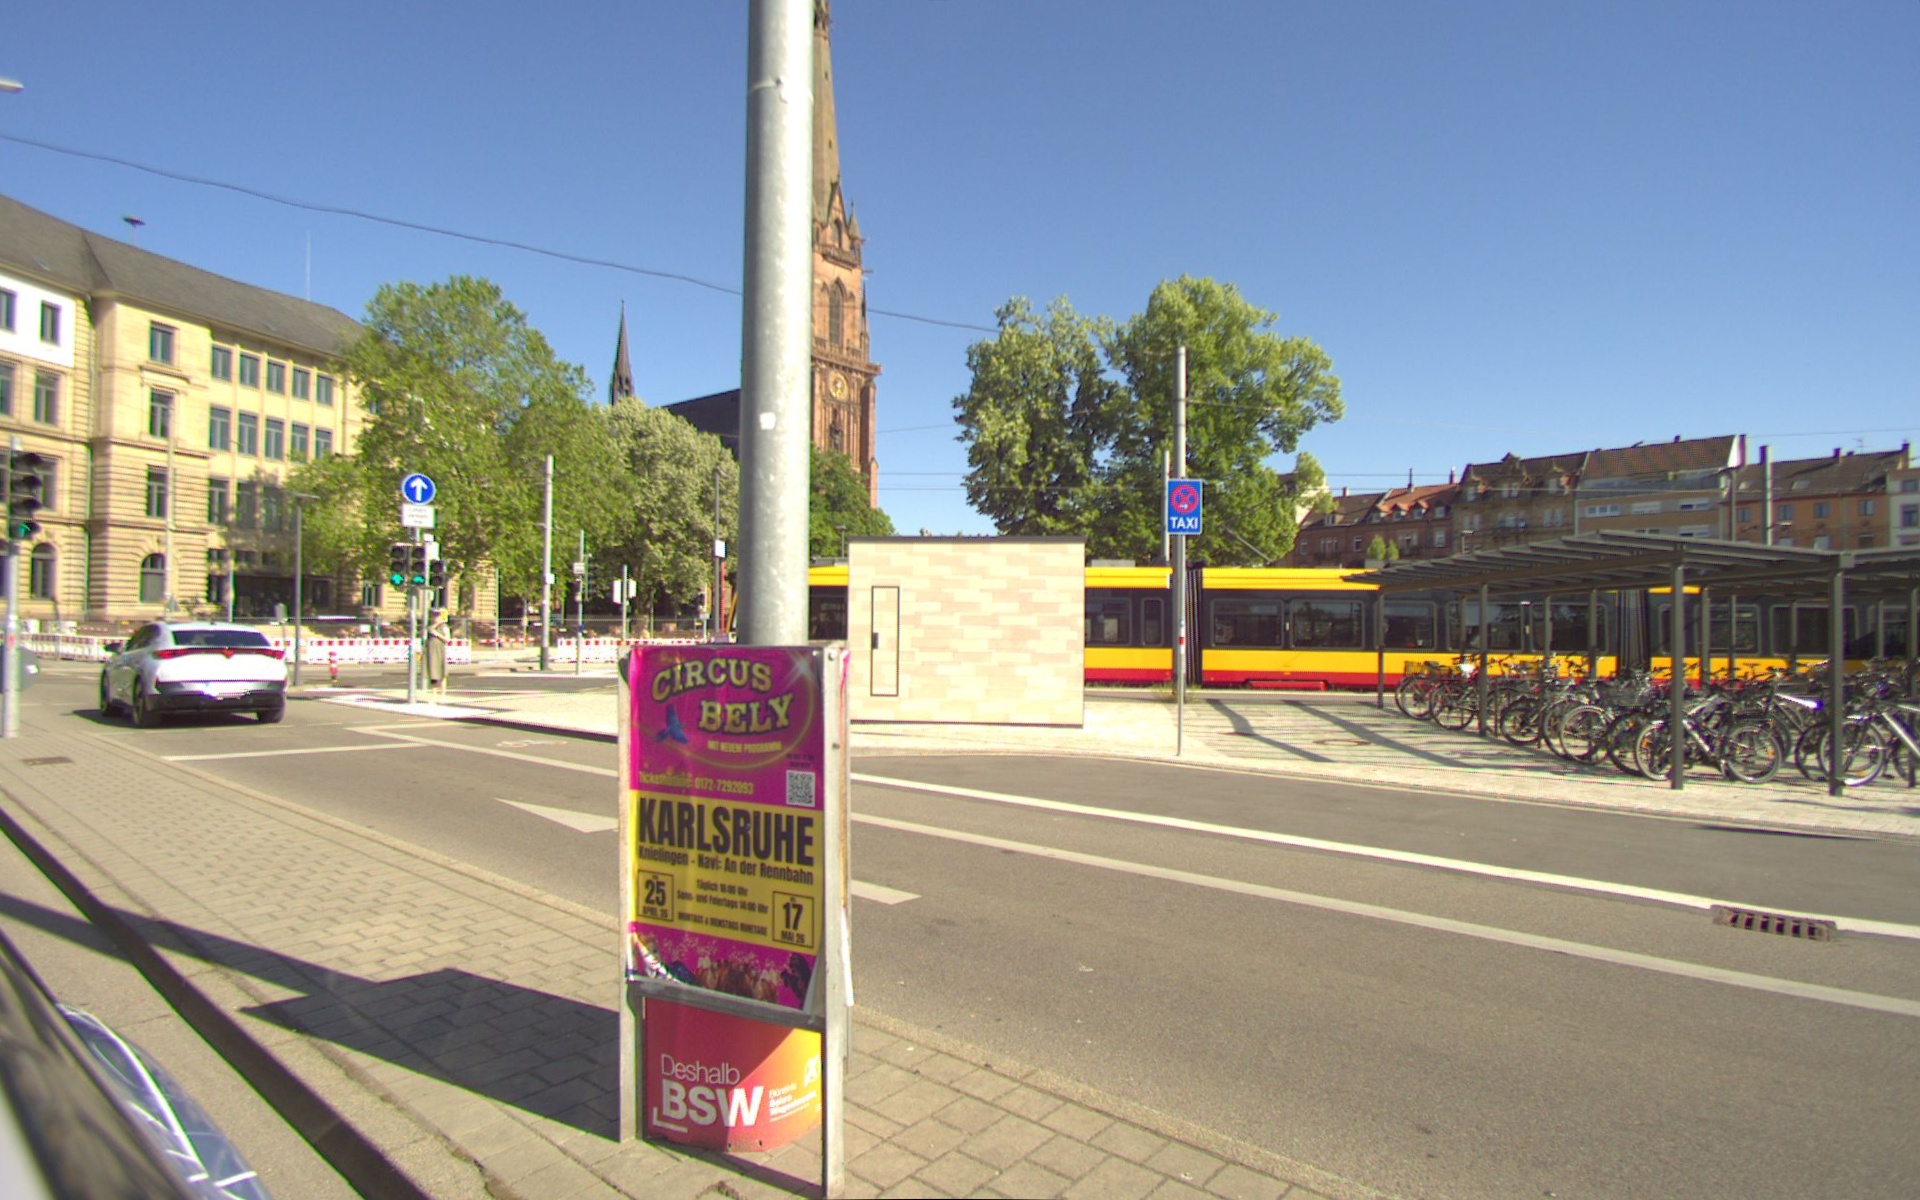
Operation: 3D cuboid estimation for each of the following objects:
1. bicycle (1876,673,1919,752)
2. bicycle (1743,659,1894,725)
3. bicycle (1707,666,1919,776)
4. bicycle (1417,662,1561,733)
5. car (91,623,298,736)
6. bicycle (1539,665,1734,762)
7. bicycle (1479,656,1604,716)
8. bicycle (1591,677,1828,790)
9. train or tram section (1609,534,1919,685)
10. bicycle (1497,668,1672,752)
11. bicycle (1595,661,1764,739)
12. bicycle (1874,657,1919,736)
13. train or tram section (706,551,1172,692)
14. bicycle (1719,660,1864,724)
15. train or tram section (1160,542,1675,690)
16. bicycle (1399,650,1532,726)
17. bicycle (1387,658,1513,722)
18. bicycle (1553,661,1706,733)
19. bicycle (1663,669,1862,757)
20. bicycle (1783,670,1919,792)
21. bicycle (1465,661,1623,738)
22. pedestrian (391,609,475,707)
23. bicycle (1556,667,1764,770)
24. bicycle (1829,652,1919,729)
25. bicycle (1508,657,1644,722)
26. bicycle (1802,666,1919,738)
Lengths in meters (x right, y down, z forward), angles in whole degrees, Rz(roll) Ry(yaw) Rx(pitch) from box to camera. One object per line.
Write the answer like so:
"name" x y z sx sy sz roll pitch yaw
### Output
"bicycle" 13.653 1.507 13.628 1.978 1.015 0.628 0 -2 3
"bicycle" 13.807 1.467 16.309 1.807 1.015 0.628 0 -2 4
"bicycle" 9.629 1.343 11.443 1.808 1.157 0.627 0 -2 6
"bicycle" 7.982 1.464 15.327 1.809 1.015 0.627 0 -2 8
"car" -12.361 1.190 16.239 4.335 1.564 1.822 -1 -4 42
"bicycle" 7.929 1.317 11.921 1.809 1.059 0.571 0 -2 8
"bicycle" 10.307 1.520 17.982 1.808 1.015 0.627 0 -2 6
"bicycle" 7.730 1.357 10.511 1.847 1.015 0.699 1 -2 8
"train or tram section" 23.799 0.269 25.772 12.173 3.629 2.828 0 -2 6
"bicycle" 8.069 1.408 13.141 1.809 1.015 0.627 0 -2 8
"bicycle" 9.930 1.373 14.018 1.808 1.015 0.627 0 -2 6
"bicycle" 15.617 1.505 15.889 1.808 1.198 0.647 0 -2 6
"train or tram section" -0.573 0.586 28.168 12.381 3.629 2.797 0 -2 6
"bicycle" 13.932 1.531 16.998 1.808 1.015 0.628 0 -2 6
"train or tram section" 11.659 0.428 26.957 12.173 3.629 2.797 0 -2 6
"bicycle" 8.246 1.418 16.573 1.809 1.188 0.627 0 -2 8
"bicycle" 8.322 1.521 17.257 1.809 1.015 0.627 0 -2 8
"bicycle" 10.068 1.450 15.271 1.808 1.015 0.627 0 -2 6
"bicycle" 10.031 1.399 12.711 1.808 1.015 0.745 0 -2 6
"bicycle" 9.592 1.322 10.300 1.808 1.167 0.627 0 -2 6
"bicycle" 8.212 1.387 14.297 1.809 1.015 0.627 0 -2 8
"pedestrian" -10.473 1.126 20.128 0.826 1.869 1.215 -1 -2 35
"bicycle" 7.836 1.312 11.391 1.809 1.074 0.627 0 -2 8
"bicycle" 15.916 1.520 17.090 1.808 1.242 0.627 0 -2 6
"bicycle" 10.193 1.465 16.781 1.808 1.015 0.627 0 -2 6
"bicycle" 13.664 1.503 15.003 1.804 1.015 0.629 0 -2 -1
